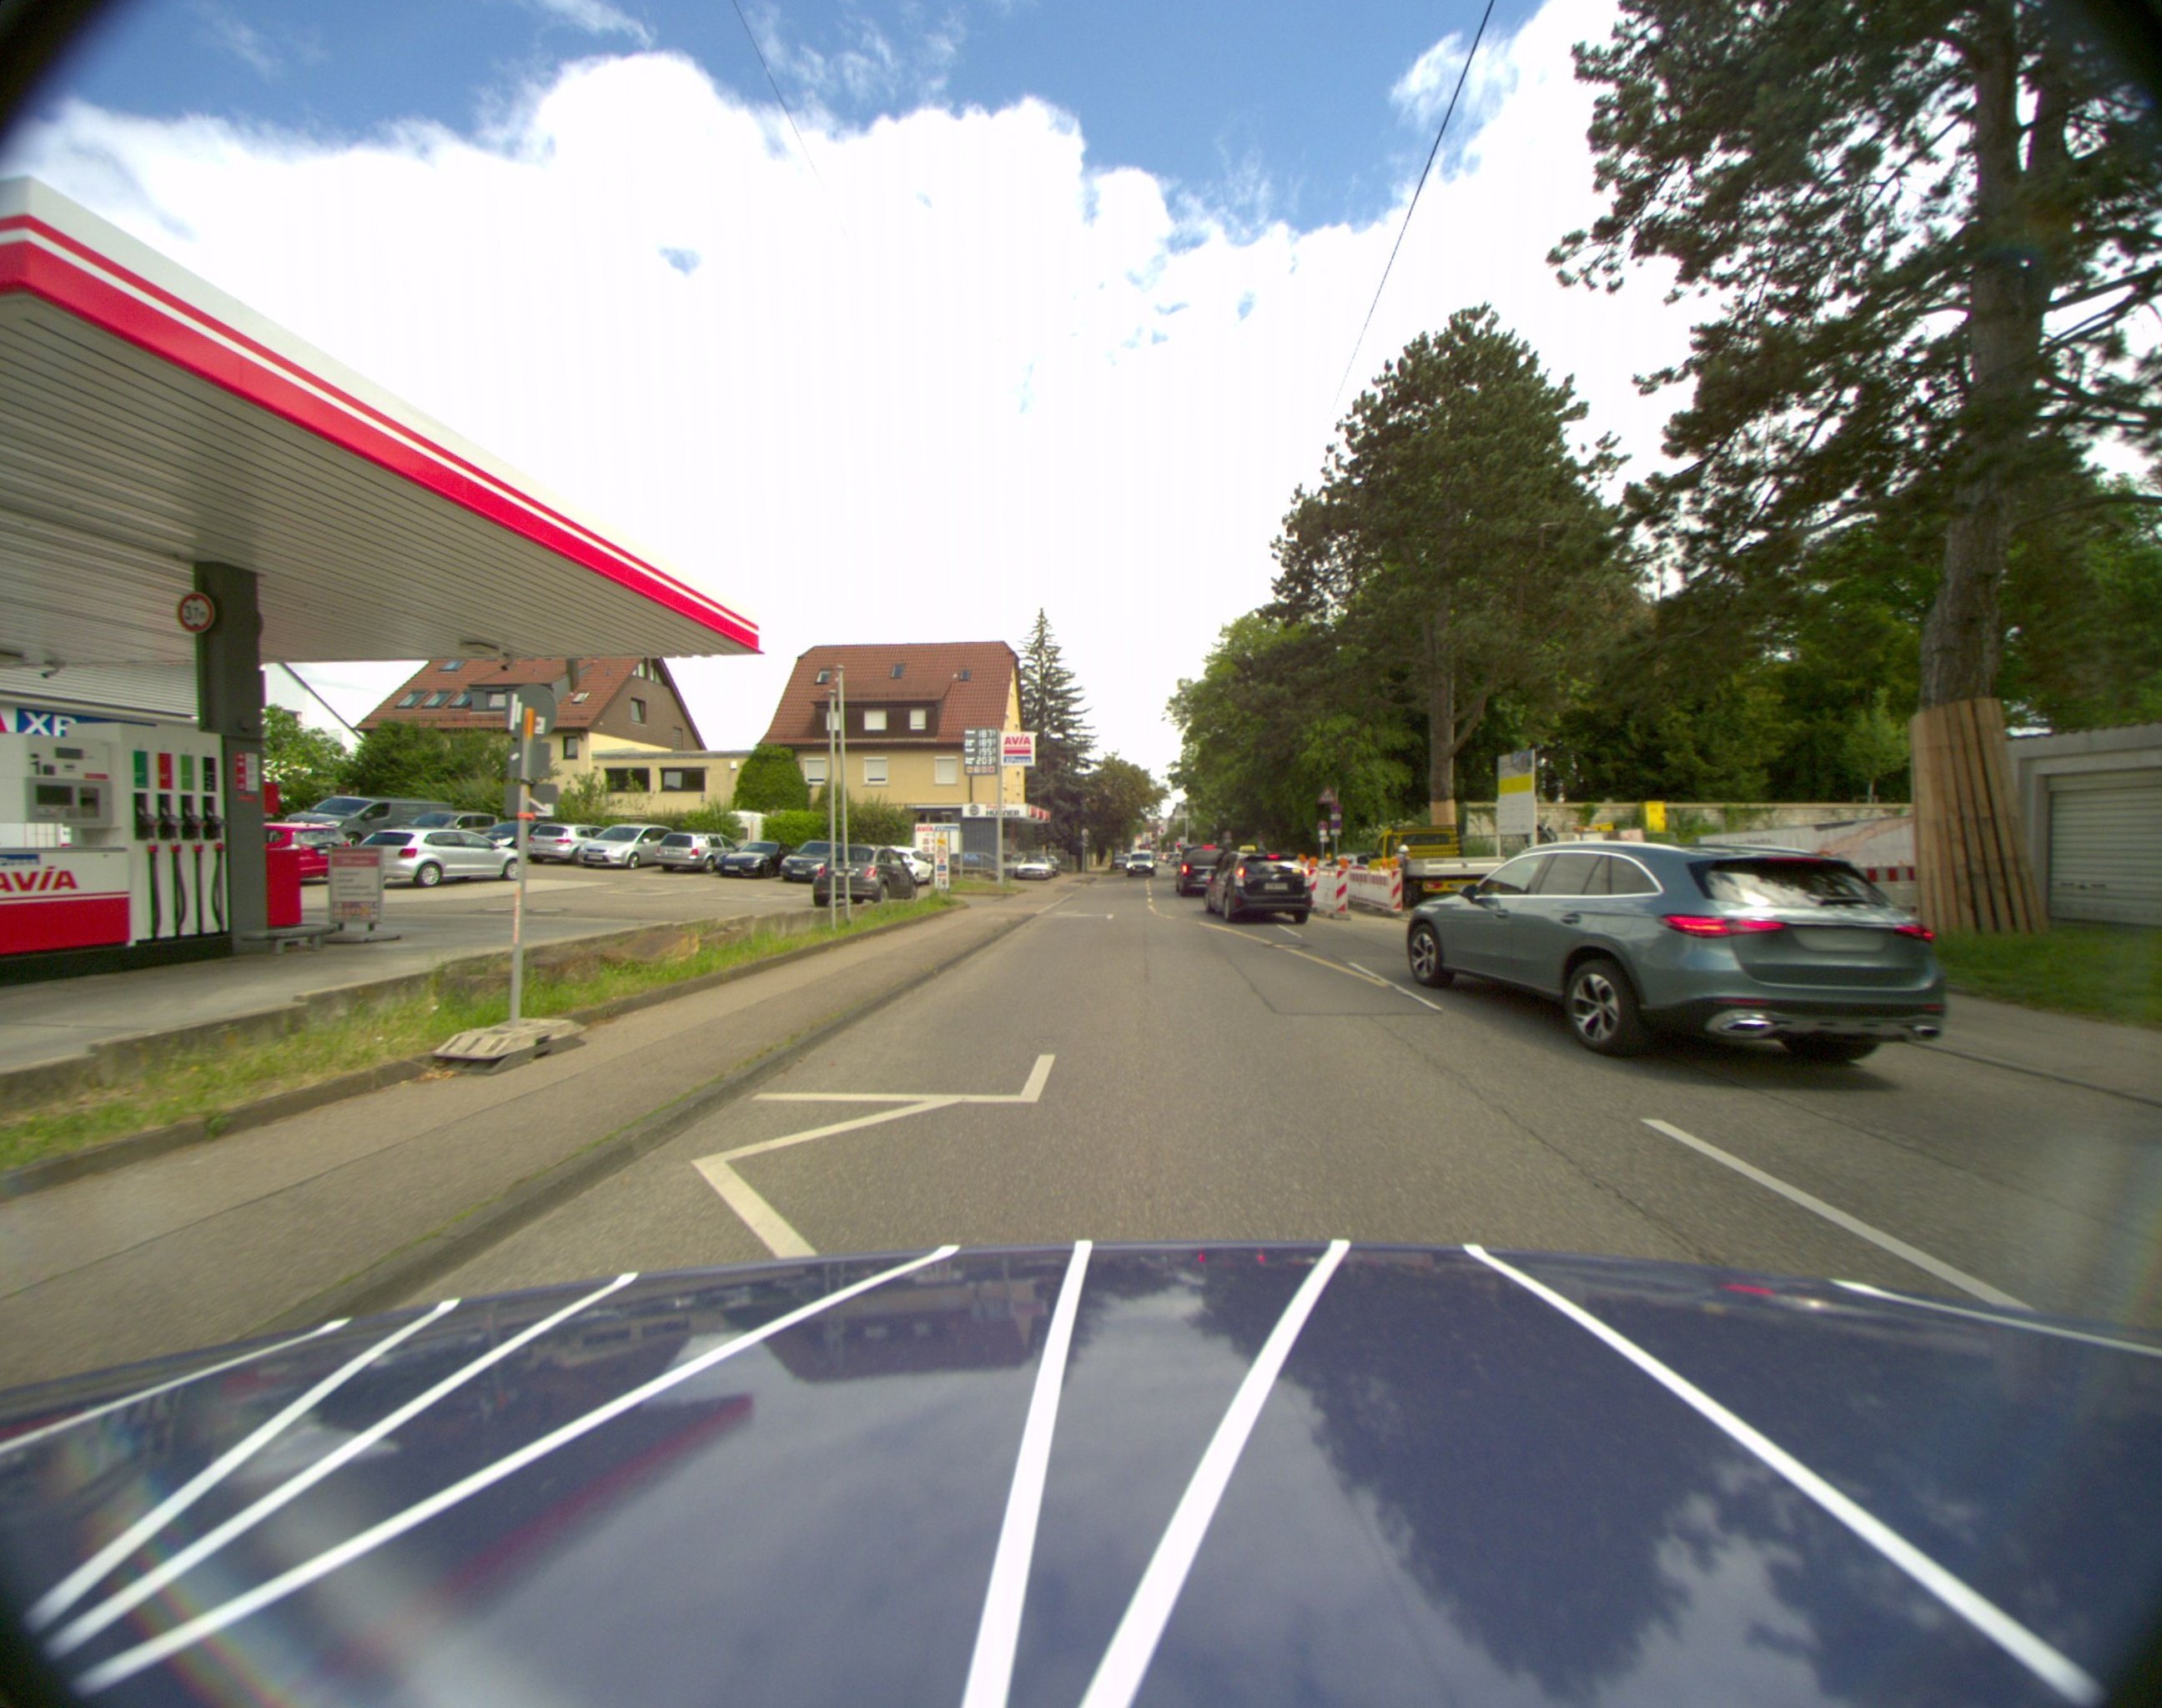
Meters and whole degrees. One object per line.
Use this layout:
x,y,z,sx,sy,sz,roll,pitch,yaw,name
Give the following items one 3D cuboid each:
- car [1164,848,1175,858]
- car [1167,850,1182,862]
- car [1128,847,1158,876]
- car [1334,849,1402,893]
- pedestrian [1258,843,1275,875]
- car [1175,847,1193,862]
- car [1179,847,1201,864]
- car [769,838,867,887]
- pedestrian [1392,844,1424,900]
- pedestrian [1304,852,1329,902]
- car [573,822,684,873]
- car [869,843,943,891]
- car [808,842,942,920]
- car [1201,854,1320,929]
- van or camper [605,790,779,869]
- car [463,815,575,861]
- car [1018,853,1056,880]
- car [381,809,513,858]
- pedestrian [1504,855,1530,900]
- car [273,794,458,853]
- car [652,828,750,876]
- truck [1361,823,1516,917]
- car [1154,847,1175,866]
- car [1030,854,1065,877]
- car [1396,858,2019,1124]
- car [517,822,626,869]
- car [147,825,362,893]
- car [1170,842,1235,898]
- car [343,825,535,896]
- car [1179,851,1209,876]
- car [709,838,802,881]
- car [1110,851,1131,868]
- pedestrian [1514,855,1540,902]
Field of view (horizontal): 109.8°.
14.470,-0.177,124.368,1.618,1.582,4.163,2,1,4,car
13.205,0.271,107.628,1.761,1.582,4.163,2,1,4,car
4.350,0.501,53.411,1.965,1.796,4.430,-2,1,5,car
10.719,0.593,28.602,1.626,1.499,3.585,-1,0,8,car
10.970,0.285,44.884,0.835,1.837,1.022,-1,2,7,pedestrian
11.993,0.024,88.636,1.761,1.582,4.163,2,1,4,car
10.669,0.130,74.631,1.761,1.582,4.004,2,1,4,car
-9.436,0.226,27.685,1.716,1.533,4.656,4,2,3,car
9.227,0.506,21.456,0.575,1.538,0.655,-1,2,-1,pedestrian
7.779,0.749,25.149,0.538,1.592,0.570,-3,2,-41,pedestrian
-16.759,-0.285,28.380,1.570,1.673,4.048,4,2,2,car
-6.502,0.435,28.675,1.638,1.520,4.203,4,2,1,car
-4.981,0.578,18.974,1.618,1.587,4.161,6,1,7,car
4.061,0.777,17.947,1.870,1.518,4.528,0,0,2,car
-16.400,-1.021,32.284,5.973,2.834,2.531,4,1,1,van or camper
-21.440,-0.616,29.148,1.570,1.560,3.498,4,2,2,car
-2.420,0.671,43.062,1.789,1.309,4.481,1,1,1,car
-23.932,-0.763,28.866,1.570,1.623,3.952,4,2,2,car
13.640,0.717,23.769,0.574,1.377,0.539,0,2,41,pedestrian
-26.523,-1.102,28.484,1.923,1.907,5.136,4,2,2,car
-14.154,-0.122,28.511,1.640,1.576,3.746,4,2,2,car
10.468,0.365,22.916,2.310,2.406,6.094,-1,1,6,truck
8.737,0.237,79.542,1.965,1.796,4.224,-2,1,5,car
-2.089,0.682,48.103,1.788,1.276,4.317,1,1,3,car
4.767,0.850,6.905,1.870,1.608,4.534,1,0,-1,car
-18.952,-0.353,28.452,1.570,1.560,3.498,4,2,2,car
-20.125,0.076,18.588,3.750,1.452,1.621,2,4,7,car
4.457,0.551,28.522,1.913,1.940,4.914,0,0,3,car
-16.589,0.083,19.910,1.633,1.493,3.746,4,4,6,car
7.872,0.625,53.110,1.780,1.547,4.003,1,1,5,car
-11.777,0.155,27.781,1.640,1.364,3.746,4,2,2,car
3.860,0.490,73.381,1.938,1.483,4.023,-2,1,4,car
13.496,0.725,22.984,0.574,1.377,0.539,0,2,41,pedestrian
